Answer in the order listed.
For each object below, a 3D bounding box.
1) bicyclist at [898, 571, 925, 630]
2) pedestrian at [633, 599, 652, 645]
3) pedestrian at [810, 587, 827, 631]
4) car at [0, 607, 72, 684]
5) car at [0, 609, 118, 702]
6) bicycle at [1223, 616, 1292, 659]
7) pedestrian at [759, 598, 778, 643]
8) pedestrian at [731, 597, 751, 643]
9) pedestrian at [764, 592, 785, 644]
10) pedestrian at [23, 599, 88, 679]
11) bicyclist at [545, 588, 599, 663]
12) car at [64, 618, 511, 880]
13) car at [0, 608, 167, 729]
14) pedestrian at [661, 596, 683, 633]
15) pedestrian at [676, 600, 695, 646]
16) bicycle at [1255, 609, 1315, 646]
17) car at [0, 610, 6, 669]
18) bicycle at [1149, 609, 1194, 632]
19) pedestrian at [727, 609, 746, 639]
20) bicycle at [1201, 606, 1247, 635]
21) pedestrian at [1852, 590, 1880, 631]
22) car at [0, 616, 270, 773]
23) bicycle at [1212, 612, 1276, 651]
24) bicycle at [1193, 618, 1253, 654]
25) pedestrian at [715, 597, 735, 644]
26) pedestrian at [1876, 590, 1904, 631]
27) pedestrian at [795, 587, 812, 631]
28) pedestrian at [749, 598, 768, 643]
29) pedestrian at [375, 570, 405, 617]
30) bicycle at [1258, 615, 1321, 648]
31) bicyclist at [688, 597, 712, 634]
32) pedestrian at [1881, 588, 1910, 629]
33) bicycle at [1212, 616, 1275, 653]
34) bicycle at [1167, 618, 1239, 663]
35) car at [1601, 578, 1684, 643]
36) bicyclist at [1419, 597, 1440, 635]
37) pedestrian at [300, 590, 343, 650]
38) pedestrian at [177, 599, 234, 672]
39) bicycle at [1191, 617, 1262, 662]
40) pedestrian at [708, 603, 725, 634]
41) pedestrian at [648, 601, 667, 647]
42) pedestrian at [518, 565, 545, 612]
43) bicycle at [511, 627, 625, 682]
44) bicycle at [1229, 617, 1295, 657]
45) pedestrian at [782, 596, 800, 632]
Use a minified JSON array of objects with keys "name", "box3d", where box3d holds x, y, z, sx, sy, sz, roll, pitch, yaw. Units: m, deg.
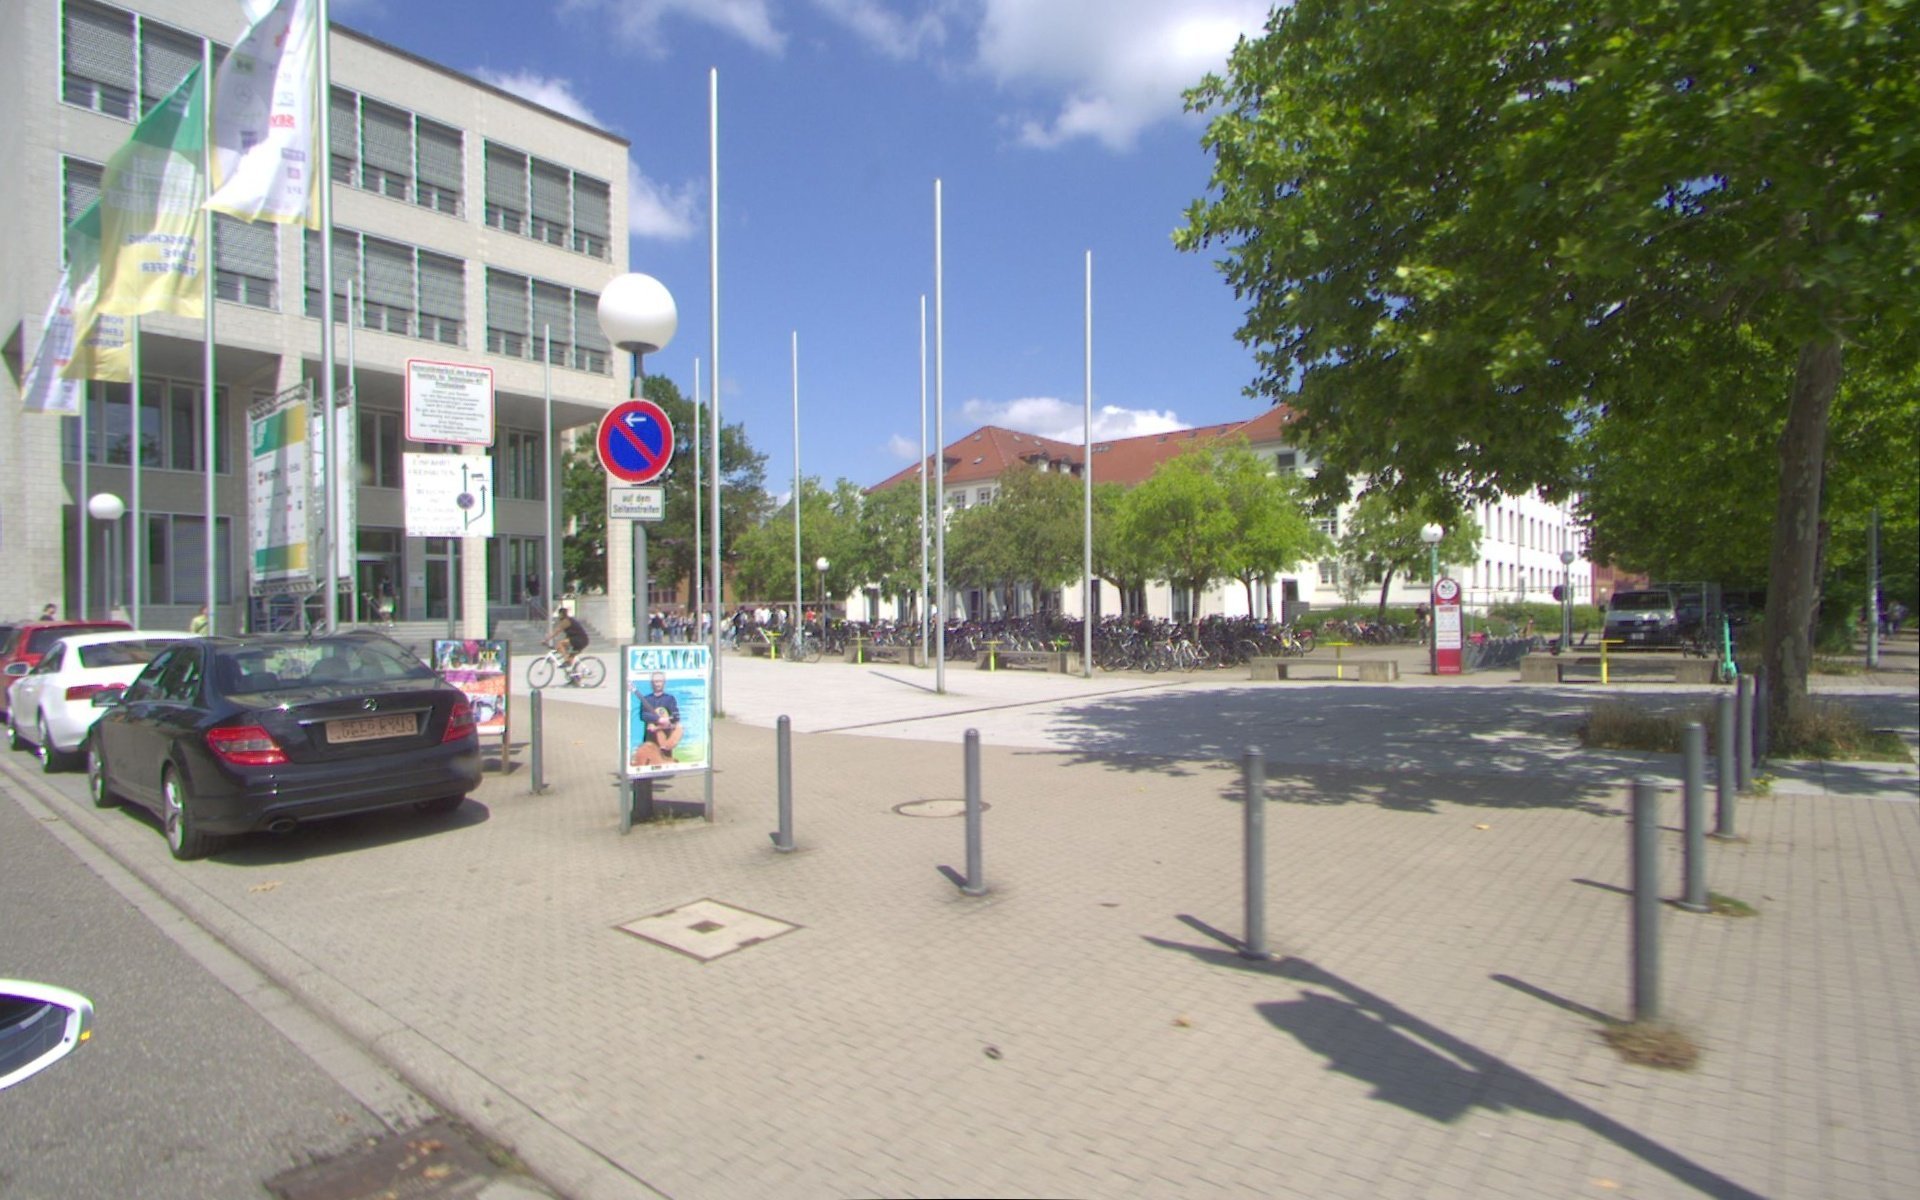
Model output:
[{"name":"bicyclist","box3d":[-1.571,0.032,32.496,0.747,1.869,0.662,-2,-1,-8]},{"name":"pedestrian","box3d":[-15.893,1.119,50.069,0.706,2.258,0.631,-2,-1,-31]},{"name":"pedestrian","box3d":[-7.266,0.462,51.505,0.622,2.258,0.716,-2,-1,10]},{"name":"car","box3d":[-21.447,0.980,22.262,4.509,1.550,1.712,-1,2,38]},{"name":"car","box3d":[-17.251,0.966,18.722,3.954,1.549,1.710,-1,0,41]},{"name":"bicycle","box3d":[8.200,1.029,27.632,1.734,1.113,0.603,-2,-1,10]},{"name":"pedestrian","box3d":[-9.846,1.035,51.413,0.703,2.258,0.634,-2,-1,10]},{"name":"pedestrian","box3d":[-8.528,0.773,39.058,0.623,1.769,0.715,-2,-1,-20]},{"name":"pedestrian","box3d":[-8.325,0.812,44.983,0.838,2.258,0.634,-2,-1,-6]},{"name":"pedestrian","box3d":[-22.526,0.949,24.947,1.009,1.945,1.089,0,0,41]},{"name":"bicyclist","box3d":[-8.336,0.541,21.517,0.915,1.585,0.663,-1,1,-6]},{"name":"car","box3d":[-5.569,0.897,7.984,4.892,1.419,1.709,-1,2,41]},{"name":"car","box3d":[-13.475,0.922,15.138,4.100,1.517,1.605,0,2,42]},{"name":"pedestrian","box3d":[-14.061,0.710,48.832,0.859,1.724,0.631,-2,-1,-31]},{"name":"pedestrian","box3d":[-13.807,1.155,50.409,0.706,2.258,0.631,-2,-1,-31]},{"name":"bicycle","box3d":[10.524,0.899,32.451,1.734,1.113,0.603,-2,-1,10]},{"name":"car","box3d":[-26.543,1.039,26.356,3.958,1.516,1.607,-1,0,40]},{"name":"bicycle","box3d":[8.686,0.861,41.198,1.734,0.880,0.604,-2,-1,10]},{"name":"pedestrian","box3d":[-11.382,1.222,51.010,0.709,1.455,0.628,-3,-1,44]},{"name":"bicycle","box3d":[10.738,0.840,40.791,1.734,1.113,0.604,-2,-1,10]},{"name":"pedestrian","box3d":[40.806,0.482,45.102,0.779,1.803,0.681,-2,-1,-28]},{"name":"car","box3d":[-9.771,0.950,11.708,4.388,1.419,1.709,-1,2,41]},{"name":"bicycle","box3d":[8.234,0.919,29.125,1.734,1.113,0.603,-1,0,10]},{"name":"bicycle","box3d":[8.134,1.118,31.000,1.734,1.113,0.603,0,0,10]},{"name":"pedestrian","box3d":[-9.132,0.790,38.875,0.623,1.769,0.715,-2,-1,-20]},{"name":"pedestrian","box3d":[41.168,0.462,44.333,0.779,1.803,0.681,-2,-1,-30]},{"name":"pedestrian","box3d":[-8.073,0.459,51.725,0.622,2.258,0.716,-2,-1,10]},{"name":"pedestrian","box3d":[-10.459,1.071,51.922,0.703,2.258,0.634,-2,-1,10]},{"name":"pedestrian","box3d":[-20.248,-0.233,35.590,0.709,1.605,0.713,-3,-1,43]},{"name":"bicycle","box3d":[9.947,0.946,30.272,1.734,0.967,0.604,0,0,10]},{"name":"bicyclist","box3d":[-11.385,0.669,43.840,0.670,1.590,0.878,1,1,15]},{"name":"pedestrian","box3d":[42.640,0.383,45.659,0.778,1.803,0.682,-2,-1,-25]},{"name":"bicycle","box3d":[8.438,1.020,29.841,1.734,1.113,0.603,0,0,10]},{"name":"bicycle","box3d":[6.317,1.060,26.110,1.734,1.113,0.603,-2,-1,10]},{"name":"car","box3d":[21.610,0.335,31.614,1.880,1.889,4.906,-2,-1,38]},{"name":"bicyclist","box3d":[17.052,0.569,36.346,0.599,1.338,0.738,1,2,32]},{"name":"pedestrian","box3d":[-17.911,0.553,28.109,0.724,1.661,0.691,-1,0,2]},{"name":"pedestrian","box3d":[-18.611,0.864,24.698,0.990,1.763,0.913,0,1,41]},{"name":"bicycle","box3d":[7.083,1.046,26.658,1.734,1.113,0.603,-2,-1,10]},{"name":"pedestrian","box3d":[-12.243,0.910,50.284,0.624,1.517,0.714,-2,-1,-27]},{"name":"pedestrian","box3d":[-15.257,1.210,50.446,0.706,2.258,0.631,-2,-1,-31]},{"name":"pedestrian","box3d":[-17.229,-0.451,40.266,0.709,1.821,0.713,-3,-1,43]},{"name":"bicycle","box3d":[-8.389,1.164,21.515,2.113,1.093,0.903,1,0,-5]},{"name":"bicycle","box3d":[8.545,1.036,28.406,1.734,1.113,0.603,-1,0,10]},{"name":"pedestrian","box3d":[-8.756,0.732,51.864,0.622,1.800,0.716,-2,-1,10]}]
